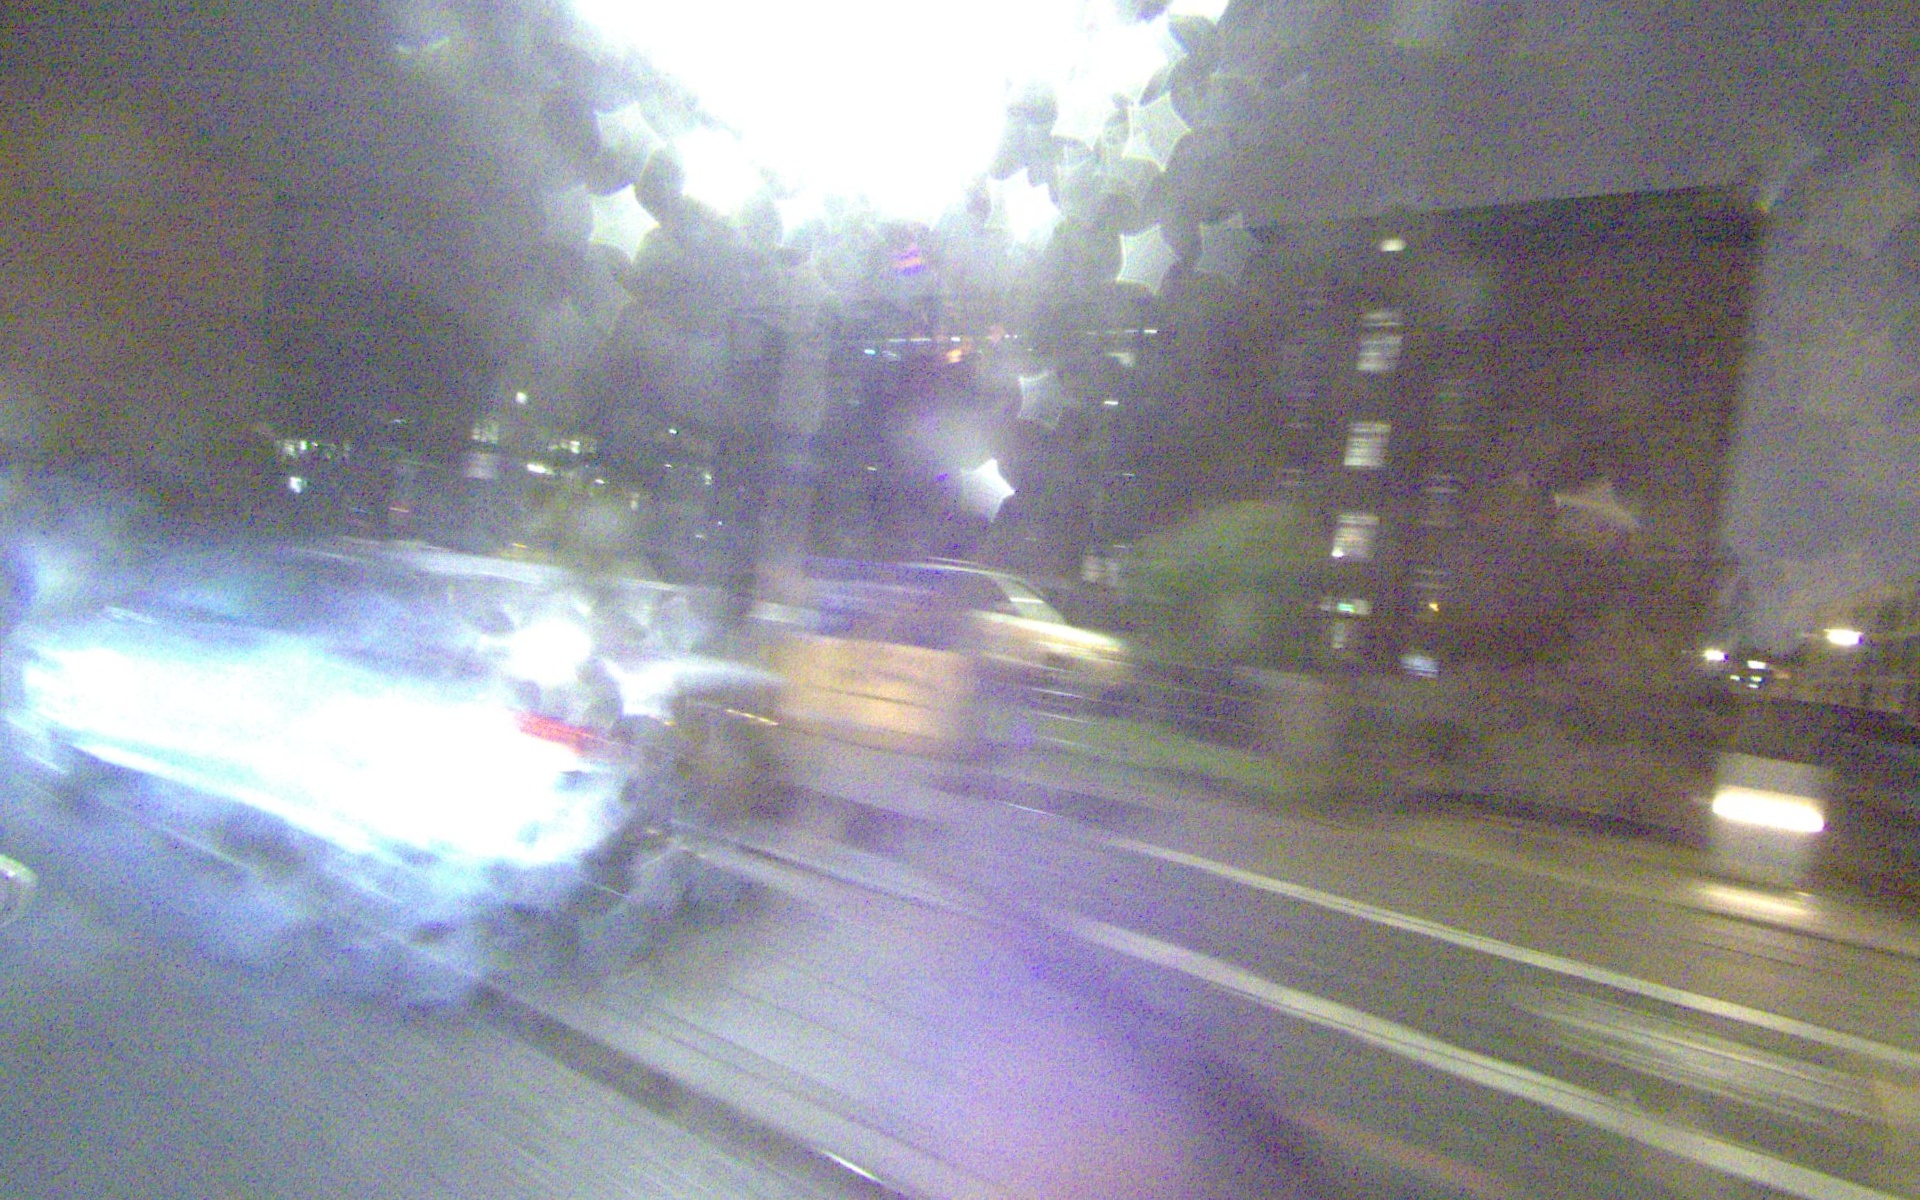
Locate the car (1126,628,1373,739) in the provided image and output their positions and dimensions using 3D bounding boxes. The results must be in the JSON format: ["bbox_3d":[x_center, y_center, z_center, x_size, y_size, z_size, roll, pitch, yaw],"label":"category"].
[{"bbox_3d":[5.629,1.600,19.660,4.188,1.485,1.830,7,-2,31],"label":"car"}]

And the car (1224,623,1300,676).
[{"bbox_3d":[11.184,1.866,37.094,1.641,1.636,3.993,7,0,30],"label":"car"}]

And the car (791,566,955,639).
[{"bbox_3d":[-2.425,0.051,27.591,4.190,1.431,1.680,7,0,32],"label":"car"}]

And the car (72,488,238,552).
[{"bbox_3d":[-25.187,-2.480,31.599,1.593,1.417,3.692,8,0,30],"label":"car"}]

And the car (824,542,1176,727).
[{"bbox_3d":[0.512,0.425,13.684,4.185,1.716,1.908,9,1,29],"label":"car"}]

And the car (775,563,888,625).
[{"bbox_3d":[-4.135,-0.148,32.989,1.538,1.596,3.995,8,0,28],"label":"car"}]

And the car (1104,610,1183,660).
[{"bbox_3d":[7.304,1.419,39.782,1.641,1.636,3.993,7,0,30],"label":"car"}]

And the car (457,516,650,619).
[{"bbox_3d":[-7.691,-0.618,18.998,3.350,1.488,1.565,7,1,31],"label":"car"}]

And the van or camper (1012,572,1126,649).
[{"bbox_3d":[4.452,0.491,40.300,2.342,2.585,5.385,7,0,30],"label":"van or camper"}]

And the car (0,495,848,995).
[{"bbox_3d":[-3.109,0.419,5.388,4.707,1.468,1.792,7,2,28],"label":"car"}]

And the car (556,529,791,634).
[{"bbox_3d":[-6.028,-0.411,20.977,4.784,1.567,1.832,7,1,31],"label":"car"}]

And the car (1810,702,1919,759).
[{"bbox_3d":[33.229,4.729,36.159,3.730,1.528,1.749,7,1,33],"label":"car"}]

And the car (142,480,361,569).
[{"bbox_3d":[-17.257,-1.792,24.710,1.656,1.539,3.995,8,0,28],"label":"car"}]

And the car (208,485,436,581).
[{"bbox_3d":[-15.030,-1.530,23.958,1.656,1.637,4.225,8,0,28],"label":"car"}]

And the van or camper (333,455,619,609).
[{"bbox_3d":[-10.328,-1.354,21.905,2.135,2.558,5.068,8,0,32],"label":"van or camper"}]

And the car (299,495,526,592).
[{"bbox_3d":[-12.494,-1.234,23.240,1.775,1.637,4.225,8,0,28],"label":"car"}]
